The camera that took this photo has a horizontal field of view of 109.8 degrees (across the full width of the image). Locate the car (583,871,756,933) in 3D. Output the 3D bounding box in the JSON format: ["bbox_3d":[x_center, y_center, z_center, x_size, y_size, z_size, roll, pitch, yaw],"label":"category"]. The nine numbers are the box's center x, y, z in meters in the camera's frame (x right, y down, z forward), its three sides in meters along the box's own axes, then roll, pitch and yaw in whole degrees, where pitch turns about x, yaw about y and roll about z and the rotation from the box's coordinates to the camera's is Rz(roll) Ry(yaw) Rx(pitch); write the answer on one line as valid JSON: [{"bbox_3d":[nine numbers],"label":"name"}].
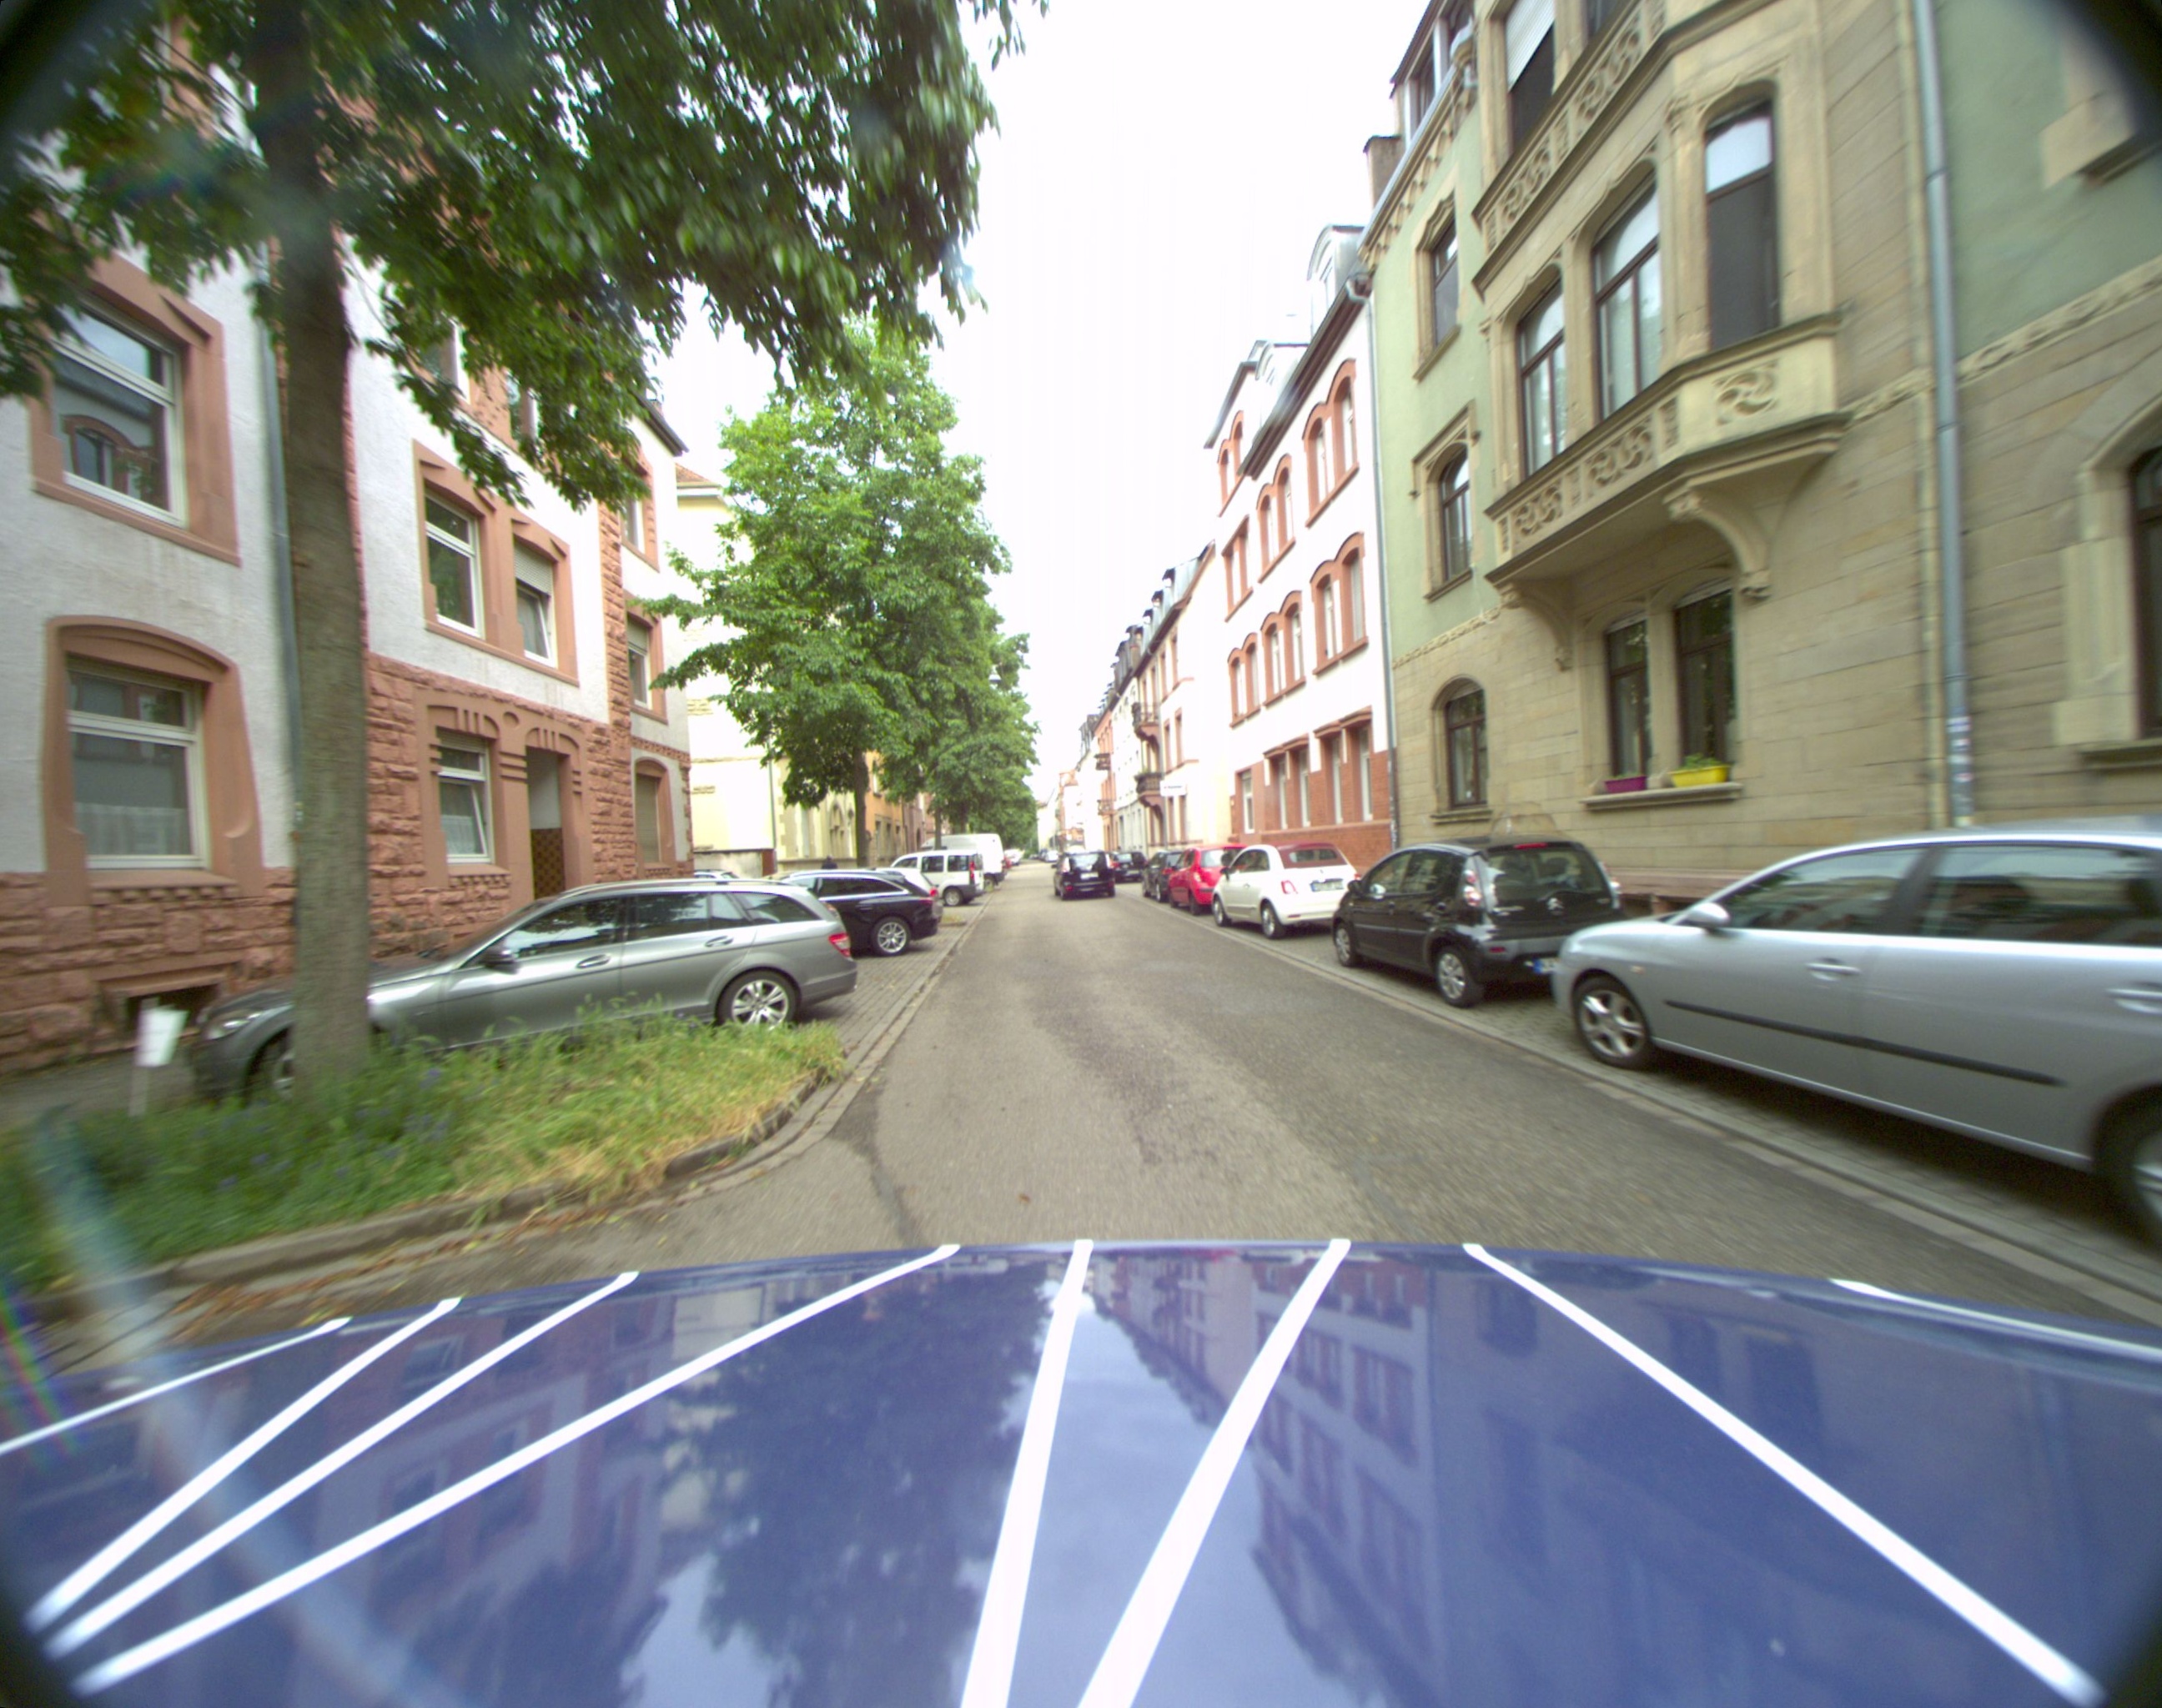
[{"bbox_3d":[-11.727,1.337,21.856,3.998,1.445,1.609,-3,1,-5],"label":"car"}]

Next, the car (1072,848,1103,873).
[{"bbox_3d":[0.398,0.383,48.434,1.611,1.463,3.341,-3,1,-5],"label":"car"}]

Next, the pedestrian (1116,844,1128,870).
[{"bbox_3d":[2.641,0.182,49.015,0.578,1.599,0.544,-4,1,-4],"label":"pedestrian"}]

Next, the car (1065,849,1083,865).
[{"bbox_3d":[-0.716,0.279,73.365,1.457,1.401,3.809,-5,0,-3],"label":"car"}]

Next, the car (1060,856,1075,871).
[{"bbox_3d":[-1.493,1.022,82.973,1.457,1.401,3.809,-5,0,-3],"label":"car"}]

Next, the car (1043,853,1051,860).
[{"bbox_3d":[-7.135,0.454,159.185,1.457,1.401,3.809,-5,0,-3],"label":"car"}]

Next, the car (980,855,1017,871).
[{"bbox_3d":[-8.698,0.909,80.135,3.608,1.458,1.628,-4,1,-17],"label":"car"}]

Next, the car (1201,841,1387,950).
[{"bbox_3d":[3.432,0.611,12.959,1.671,1.502,3.551,-4,0,-8],"label":"car"}]

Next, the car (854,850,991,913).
[{"bbox_3d":[-5.197,0.889,25.178,3.995,1.801,1.721,-3,1,7],"label":"car"}]

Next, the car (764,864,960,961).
[{"bbox_3d":[-4.470,1.102,15.498,3.472,1.554,1.783,-4,1,-26],"label":"car"}]

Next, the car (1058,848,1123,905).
[{"bbox_3d":[0.230,0.657,25.276,1.814,1.621,4.206,-3,1,-3],"label":"car"}]

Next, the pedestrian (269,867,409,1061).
[{"bbox_3d":[-7.054,1.008,7.260,0.599,1.723,0.663,-3,1,-5],"label":"pedestrian"}]

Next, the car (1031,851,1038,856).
[{"bbox_3d":[-13.729,-0.156,225.701,1.458,1.401,3.806,-3,1,-13],"label":"car"}]

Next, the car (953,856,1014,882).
[{"bbox_3d":[-6.454,0.992,50.373,3.612,1.458,1.626,-4,1,-35],"label":"car"}]

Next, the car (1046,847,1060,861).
[{"bbox_3d":[-4.535,-0.064,122.166,2.053,2.071,3.809,-5,0,-3],"label":"car"}]

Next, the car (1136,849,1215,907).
[{"bbox_3d":[2.634,0.635,21.993,1.469,1.408,3.916,-5,0,-4],"label":"car"}]

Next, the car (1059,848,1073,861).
[{"bbox_3d":[-1.746,0.082,88.117,1.457,1.401,3.809,-5,0,-3],"label":"car"}]

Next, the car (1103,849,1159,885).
[{"bbox_3d":[2.172,0.546,33.913,1.905,1.382,3.998,-4,0,-4],"label":"car"}]

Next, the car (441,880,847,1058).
[{"bbox_3d":[-5.094,1.189,9.239,3.890,1.428,1.741,-3,3,-35],"label":"car"}]

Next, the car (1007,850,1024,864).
[{"bbox_3d":[-9.240,0.425,107.067,1.999,1.740,3.999,-4,0,-2],"label":"car"}]

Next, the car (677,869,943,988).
[{"bbox_3d":[-4.351,1.084,12.393,3.700,1.458,1.701,-3,1,-35],"label":"car"}]

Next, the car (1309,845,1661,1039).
[{"bbox_3d":[3.771,0.702,7.811,1.521,1.425,3.454,-5,0,-4],"label":"car"}]

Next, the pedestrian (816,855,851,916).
[{"bbox_3d":[-7.588,0.962,23.340,0.703,1.801,0.816,-4,1,-3],"label":"pedestrian"}]

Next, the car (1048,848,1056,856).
[{"bbox_3d":[-5.314,-0.361,138.995,1.457,1.401,3.809,-5,0,-3],"label":"car"}]

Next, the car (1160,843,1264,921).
[{"bbox_3d":[2.939,0.590,17.738,1.469,1.521,3.567,-5,0,-4],"label":"car"}]

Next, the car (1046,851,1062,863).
[{"bbox_3d":[-3.933,0.448,110.576,2.083,1.446,4.251,-5,0,-3],"label":"car"}]

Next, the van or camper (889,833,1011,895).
[{"bbox_3d":[-6.093,0.430,35.570,5.077,2.576,2.069,-3,1,-34],"label":"van or camper"}]

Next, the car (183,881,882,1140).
[{"bbox_3d":[-4.244,1.052,6.733,4.453,1.419,1.754,-1,1,-34],"label":"car"}]

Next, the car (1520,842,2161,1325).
[{"bbox_3d":[4.071,0.722,3.468,1.594,1.425,3.808,-5,0,-5],"label":"car"}]
